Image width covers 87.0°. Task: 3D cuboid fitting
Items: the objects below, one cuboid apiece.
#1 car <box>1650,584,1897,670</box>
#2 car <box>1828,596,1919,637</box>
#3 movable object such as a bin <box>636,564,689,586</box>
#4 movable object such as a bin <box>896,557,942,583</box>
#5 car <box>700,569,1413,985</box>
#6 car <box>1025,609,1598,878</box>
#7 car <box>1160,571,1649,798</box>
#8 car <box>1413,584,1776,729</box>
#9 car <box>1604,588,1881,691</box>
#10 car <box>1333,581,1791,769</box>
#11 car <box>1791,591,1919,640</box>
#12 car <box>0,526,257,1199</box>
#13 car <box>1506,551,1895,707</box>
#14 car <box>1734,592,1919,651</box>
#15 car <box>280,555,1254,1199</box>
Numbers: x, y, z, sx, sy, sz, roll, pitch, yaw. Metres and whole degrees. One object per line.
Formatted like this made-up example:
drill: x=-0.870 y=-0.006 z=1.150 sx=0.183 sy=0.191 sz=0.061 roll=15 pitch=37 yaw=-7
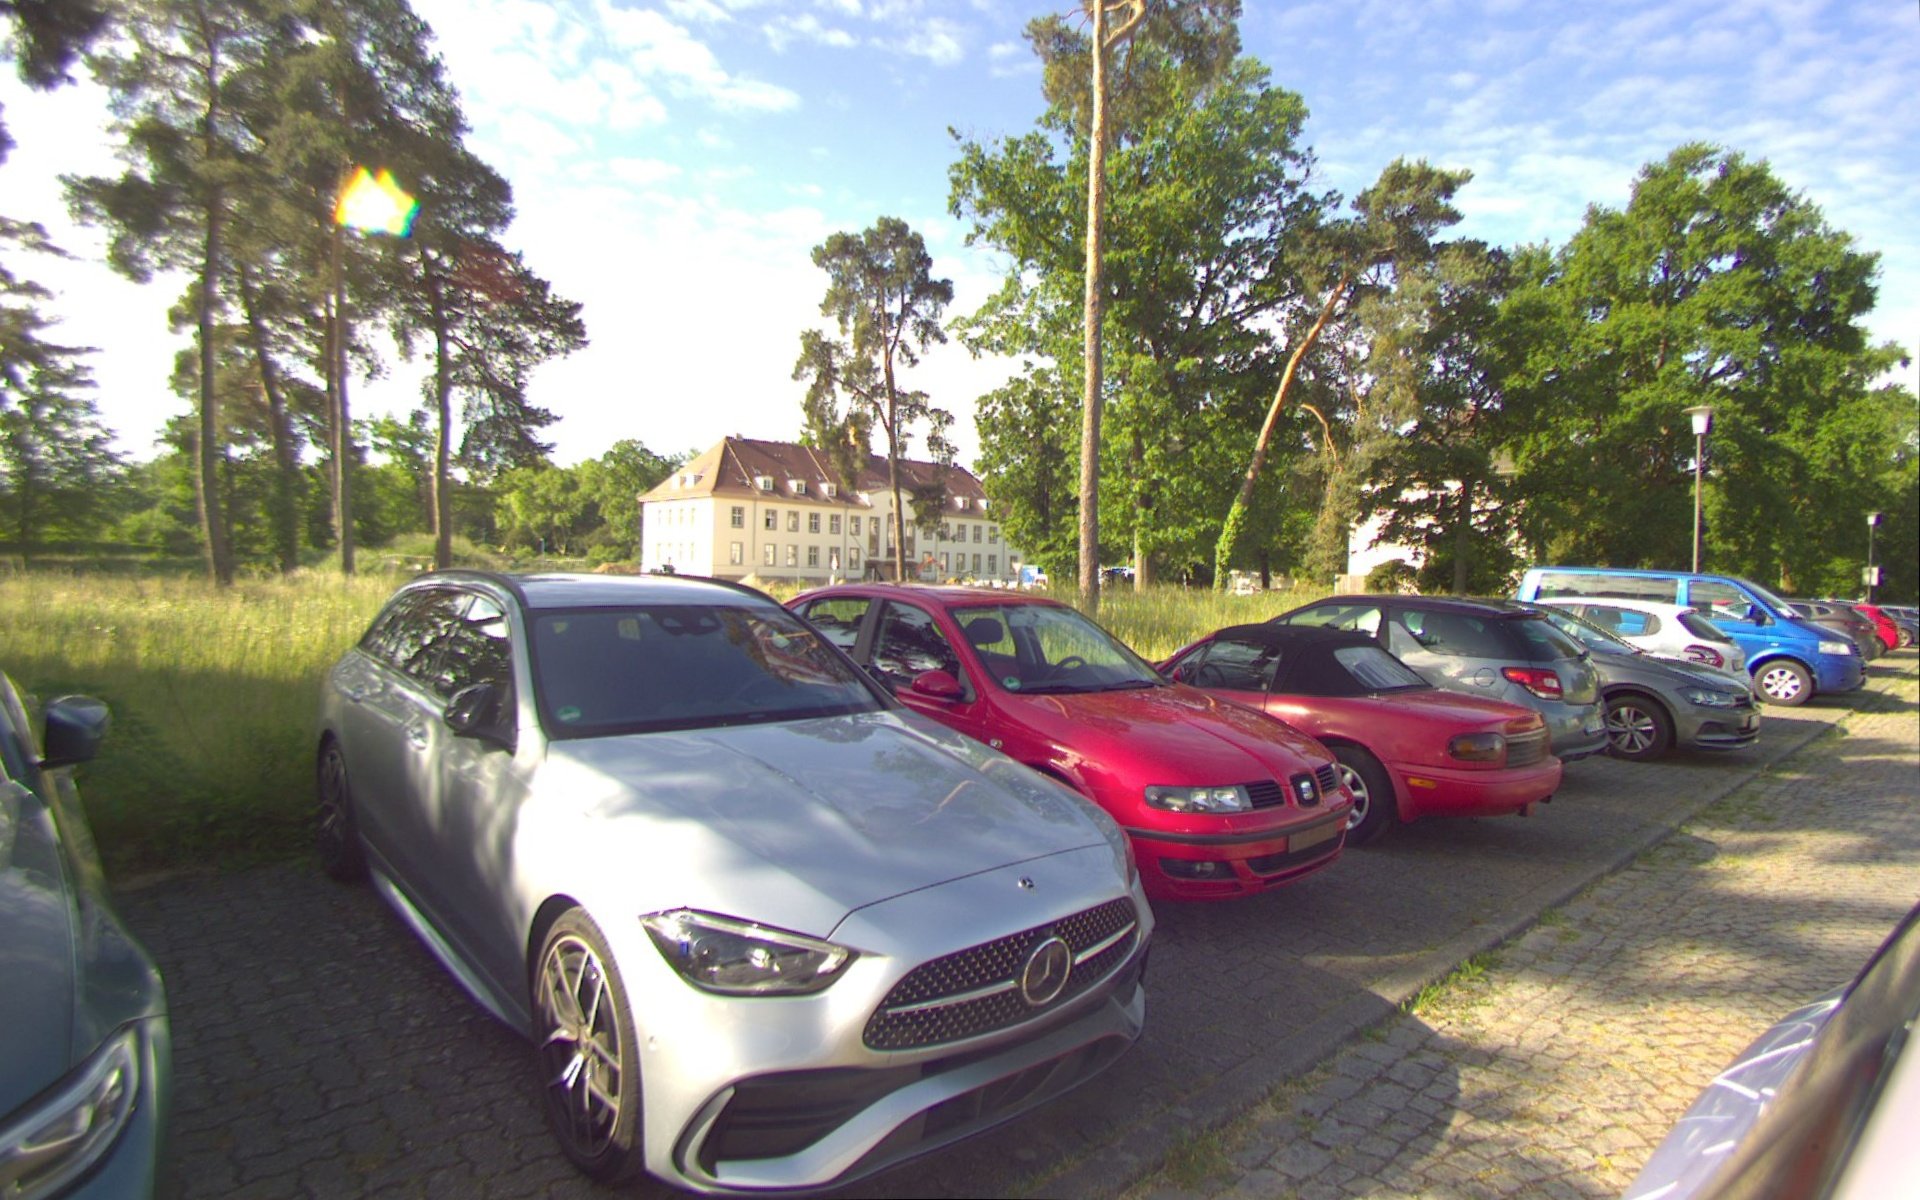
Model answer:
car: x=18.159 y=0.520 z=22.726 sx=1.757 sy=1.631 sz=4.111 roll=0 pitch=2 yaw=-44
car: x=36.542 y=0.648 z=39.549 sx=1.717 sy=1.484 sz=3.806 roll=0 pitch=1 yaw=-42
movable object such as a bin: x=-29.801 y=-2.544 z=101.341 sx=5.707 sy=2.038 sz=2.094 roll=3 pitch=2 yaw=38
movable object such as a bin: x=-4.744 y=-3.511 z=118.075 sx=4.977 sy=2.937 sz=2.181 roll=0 pitch=2 yaw=-36
car: x=0.235 y=0.622 z=5.820 sx=1.628 sy=1.466 sz=3.985 roll=0 pitch=3 yaw=-43
car: x=2.218 y=0.757 z=7.026 sx=1.510 sy=1.258 sz=3.466 roll=0 pitch=1 yaw=-42
car: x=3.830 y=0.567 z=9.173 sx=1.638 sy=1.472 sz=3.669 roll=0 pitch=3 yaw=-43
car: x=8.040 y=0.599 z=13.051 sx=1.606 sy=1.510 sz=3.650 roll=0 pitch=2 yaw=-42
car: x=13.944 y=0.619 z=18.168 sx=1.583 sy=1.484 sz=3.723 roll=0 pitch=3 yaw=-45
car: x=6.186 y=0.619 z=10.730 sx=1.727 sy=1.468 sz=3.789 roll=0 pitch=3 yaw=-41
car: x=32.837 y=0.537 z=36.506 sx=1.623 sy=1.618 sz=4.268 roll=0 pitch=1 yaw=-43
car: x=-3.216 y=0.572 z=2.338 sx=1.839 sy=1.473 sz=4.624 roll=0 pitch=4 yaw=-45
car: x=11.907 y=0.315 z=16.573 sx=1.966 sy=2.038 sz=4.763 roll=0 pitch=4 yaw=-42
car: x=25.348 y=0.581 z=29.707 sx=1.514 sy=1.514 sz=3.992 roll=0 pitch=1 yaw=-43
car: x=-1.263 y=0.599 z=4.095 sx=1.759 sy=1.405 sz=4.405 roll=0 pitch=3 yaw=-44
